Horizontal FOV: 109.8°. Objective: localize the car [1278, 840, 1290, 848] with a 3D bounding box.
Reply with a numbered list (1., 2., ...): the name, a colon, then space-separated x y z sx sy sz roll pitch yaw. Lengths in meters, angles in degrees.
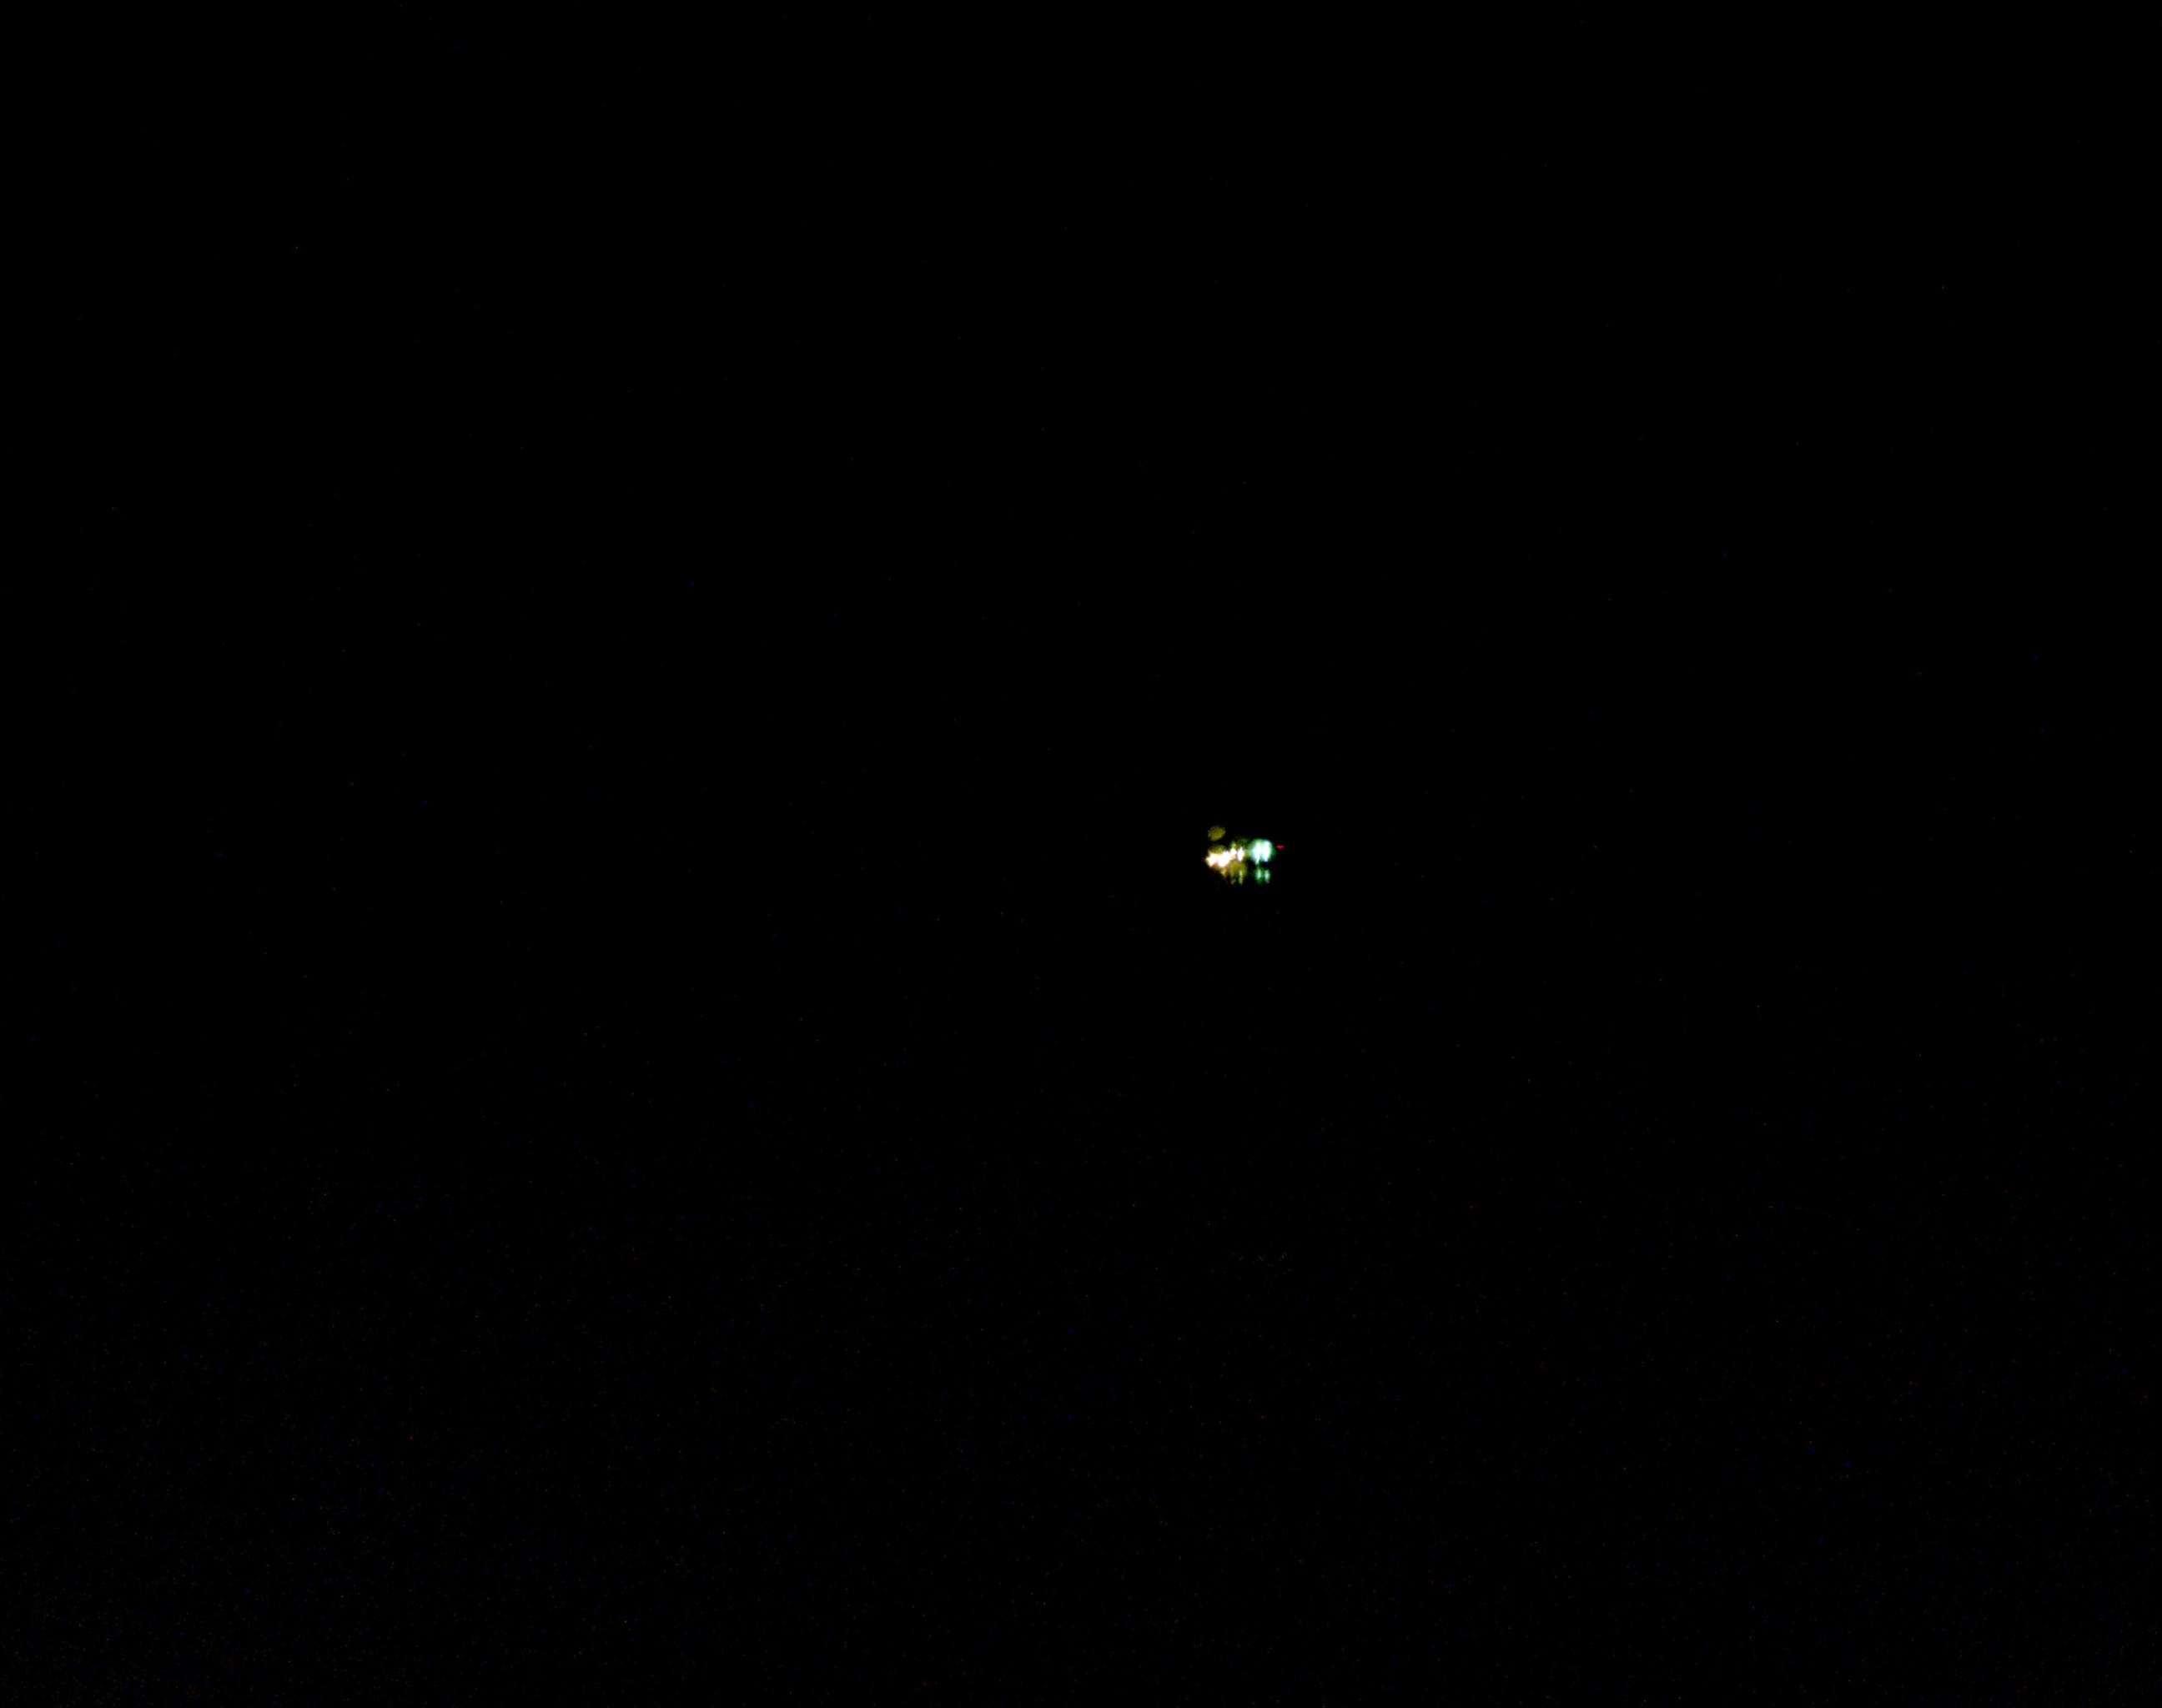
1. car: 46.065 -2.278 172.373 1.861 1.737 4.969 -1 1 23
